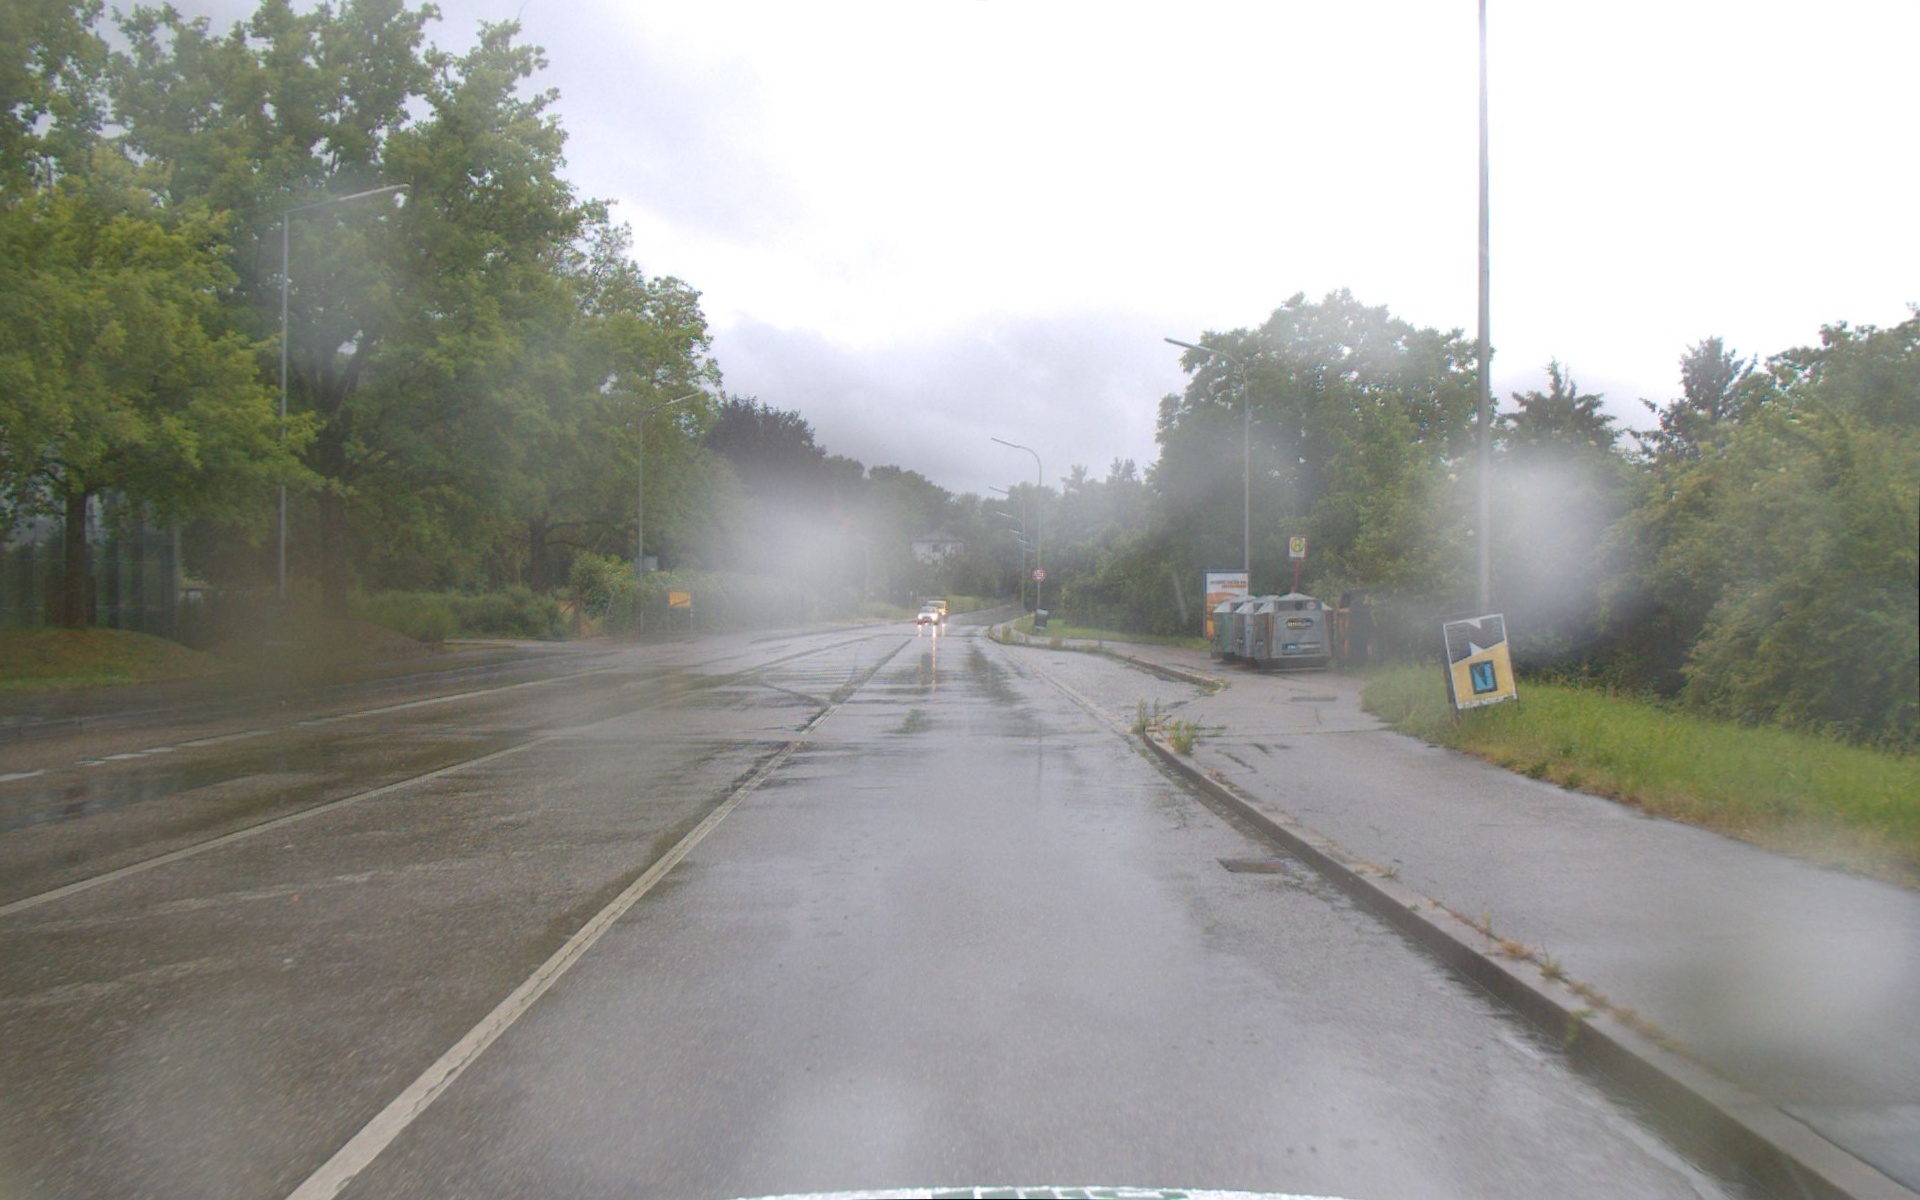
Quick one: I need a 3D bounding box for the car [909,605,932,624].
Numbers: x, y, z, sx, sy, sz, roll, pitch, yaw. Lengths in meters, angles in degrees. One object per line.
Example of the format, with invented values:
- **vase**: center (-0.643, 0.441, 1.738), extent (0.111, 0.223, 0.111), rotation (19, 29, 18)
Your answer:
- **car**: center (-3.060, 1.123, 129.161), extent (1.666, 1.373, 3.905), rotation (0, 0, 1)
